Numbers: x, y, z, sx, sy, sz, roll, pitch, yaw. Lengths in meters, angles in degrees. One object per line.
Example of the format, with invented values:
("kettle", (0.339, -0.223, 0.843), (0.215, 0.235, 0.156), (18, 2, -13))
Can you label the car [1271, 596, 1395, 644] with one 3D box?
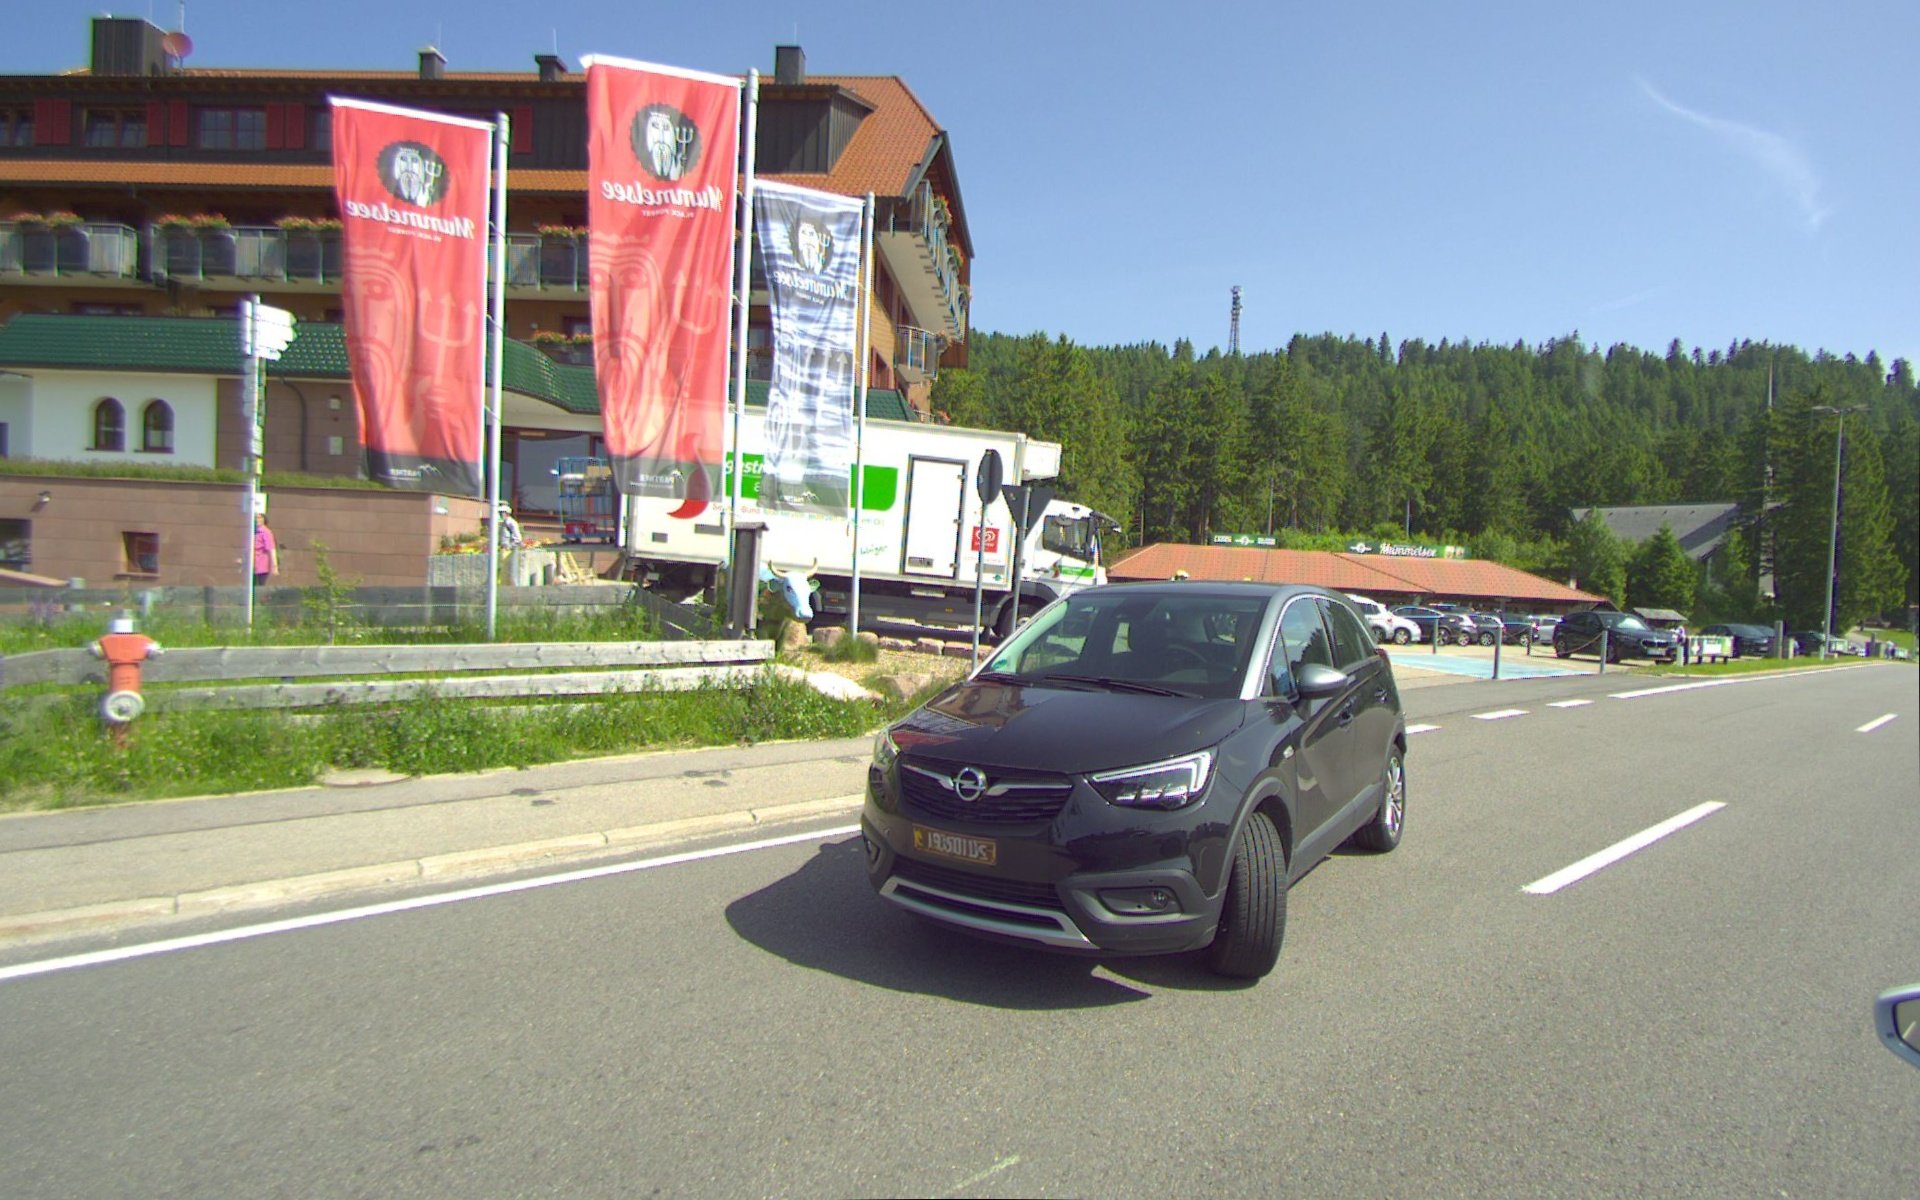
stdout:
("car", (13.956, 0.726, 37.792), (3.919, 1.566, 2.001), (2, 1, 5))

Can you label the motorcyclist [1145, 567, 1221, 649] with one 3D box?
("motorcyclist", (4.895, 0.158, 22.140), (1.014, 1.697, 1.286), (2, 2, -23))

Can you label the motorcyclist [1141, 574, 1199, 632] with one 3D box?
("motorcyclist", (6.933, 0.102, 33.140), (1.430, 1.739, 0.922), (7, 0, -18))

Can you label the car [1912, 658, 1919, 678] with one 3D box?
("car", (73.857, 5.183, 75.308), (3.304, 1.448, 1.585), (2, 1, 2))

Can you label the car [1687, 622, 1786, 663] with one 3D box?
("car", (34.959, 1.874, 45.348), (1.747, 1.573, 4.002), (3, 1, 9))

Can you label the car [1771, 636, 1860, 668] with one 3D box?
("car", (53.480, 3.211, 62.902), (1.755, 1.655, 4.209), (4, 0, -2))

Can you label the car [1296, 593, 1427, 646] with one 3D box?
("car", (15.792, 0.738, 39.698), (4.439, 1.888, 1.836), (2, 1, 6))

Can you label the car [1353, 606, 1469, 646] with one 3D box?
("car", (18.587, 1.063, 41.547), (3.920, 1.449, 1.914), (2, 1, 3))

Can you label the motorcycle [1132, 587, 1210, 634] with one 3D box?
("motorcycle", (6.957, 0.340, 33.111), (2.242, 1.272, 0.875), (7, 0, -18))

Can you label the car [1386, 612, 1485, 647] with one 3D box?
("car", (20.795, 1.283, 44.013), (3.567, 1.339, 1.588), (2, 1, 1))

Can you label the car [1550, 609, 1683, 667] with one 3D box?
("car", (20.571, 1.148, 31.703), (1.771, 1.561, 4.194), (2, 1, 6))

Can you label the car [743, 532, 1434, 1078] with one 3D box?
("car", (1.067, 0.659, 5.292), (1.953, 1.638, 4.137), (-1, -1, 35))

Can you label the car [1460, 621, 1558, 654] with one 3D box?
("car", (27.578, 1.867, 50.558), (3.919, 1.389, 1.813), (2, 1, 11))

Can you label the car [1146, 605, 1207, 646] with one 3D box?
("car", (8.005, 0.905, 37.370), (1.679, 1.314, 4.001), (2, 1, 5))

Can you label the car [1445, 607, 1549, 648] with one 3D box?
("car", (25.568, 1.279, 47.907), (3.919, 1.727, 1.827), (2, 1, 8))

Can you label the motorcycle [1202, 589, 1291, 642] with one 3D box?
("motorcycle", (8.787, 0.463, 30.949), (2.396, 1.425, 1.006), (4, 0, 5))

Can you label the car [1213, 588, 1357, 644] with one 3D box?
("car", (11.473, 0.537, 35.691), (4.454, 1.686, 1.940), (3, 1, 3))

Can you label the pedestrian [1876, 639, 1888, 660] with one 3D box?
("pedestrian", (75.715, 4.042, 82.485), (0.645, 1.688, 0.640), (4, -1, 42))

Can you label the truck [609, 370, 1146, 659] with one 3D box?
("truck", (-1.409, -1.455, 18.196), (8.606, 4.025, 3.067), (5, 3, -4))

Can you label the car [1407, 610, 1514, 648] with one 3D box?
("car", (22.957, 1.301, 46.158), (3.998, 1.506, 1.716), (2, 1, 3))

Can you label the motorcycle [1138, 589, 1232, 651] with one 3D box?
("motorcycle", (4.916, 0.409, 22.156), (0.813, 1.193, 2.273), (2, 2, -22))

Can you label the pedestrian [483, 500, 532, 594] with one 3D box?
("pedestrian", (-8.432, -0.976, 18.720), (0.640, 1.712, 0.575), (2, 1, -6))

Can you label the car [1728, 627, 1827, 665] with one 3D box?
("car", (40.583, 2.258, 50.005), (1.705, 1.588, 4.061), (4, 1, 4))

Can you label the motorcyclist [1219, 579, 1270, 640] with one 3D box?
("motorcyclist", (8.750, 0.288, 30.942), (1.223, 1.742, 1.065), (4, 0, 5))

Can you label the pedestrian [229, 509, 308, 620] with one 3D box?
("pedestrian", (-11.247, -0.572, 16.370), (0.783, 1.739, 0.698), (2, 1, -6))
